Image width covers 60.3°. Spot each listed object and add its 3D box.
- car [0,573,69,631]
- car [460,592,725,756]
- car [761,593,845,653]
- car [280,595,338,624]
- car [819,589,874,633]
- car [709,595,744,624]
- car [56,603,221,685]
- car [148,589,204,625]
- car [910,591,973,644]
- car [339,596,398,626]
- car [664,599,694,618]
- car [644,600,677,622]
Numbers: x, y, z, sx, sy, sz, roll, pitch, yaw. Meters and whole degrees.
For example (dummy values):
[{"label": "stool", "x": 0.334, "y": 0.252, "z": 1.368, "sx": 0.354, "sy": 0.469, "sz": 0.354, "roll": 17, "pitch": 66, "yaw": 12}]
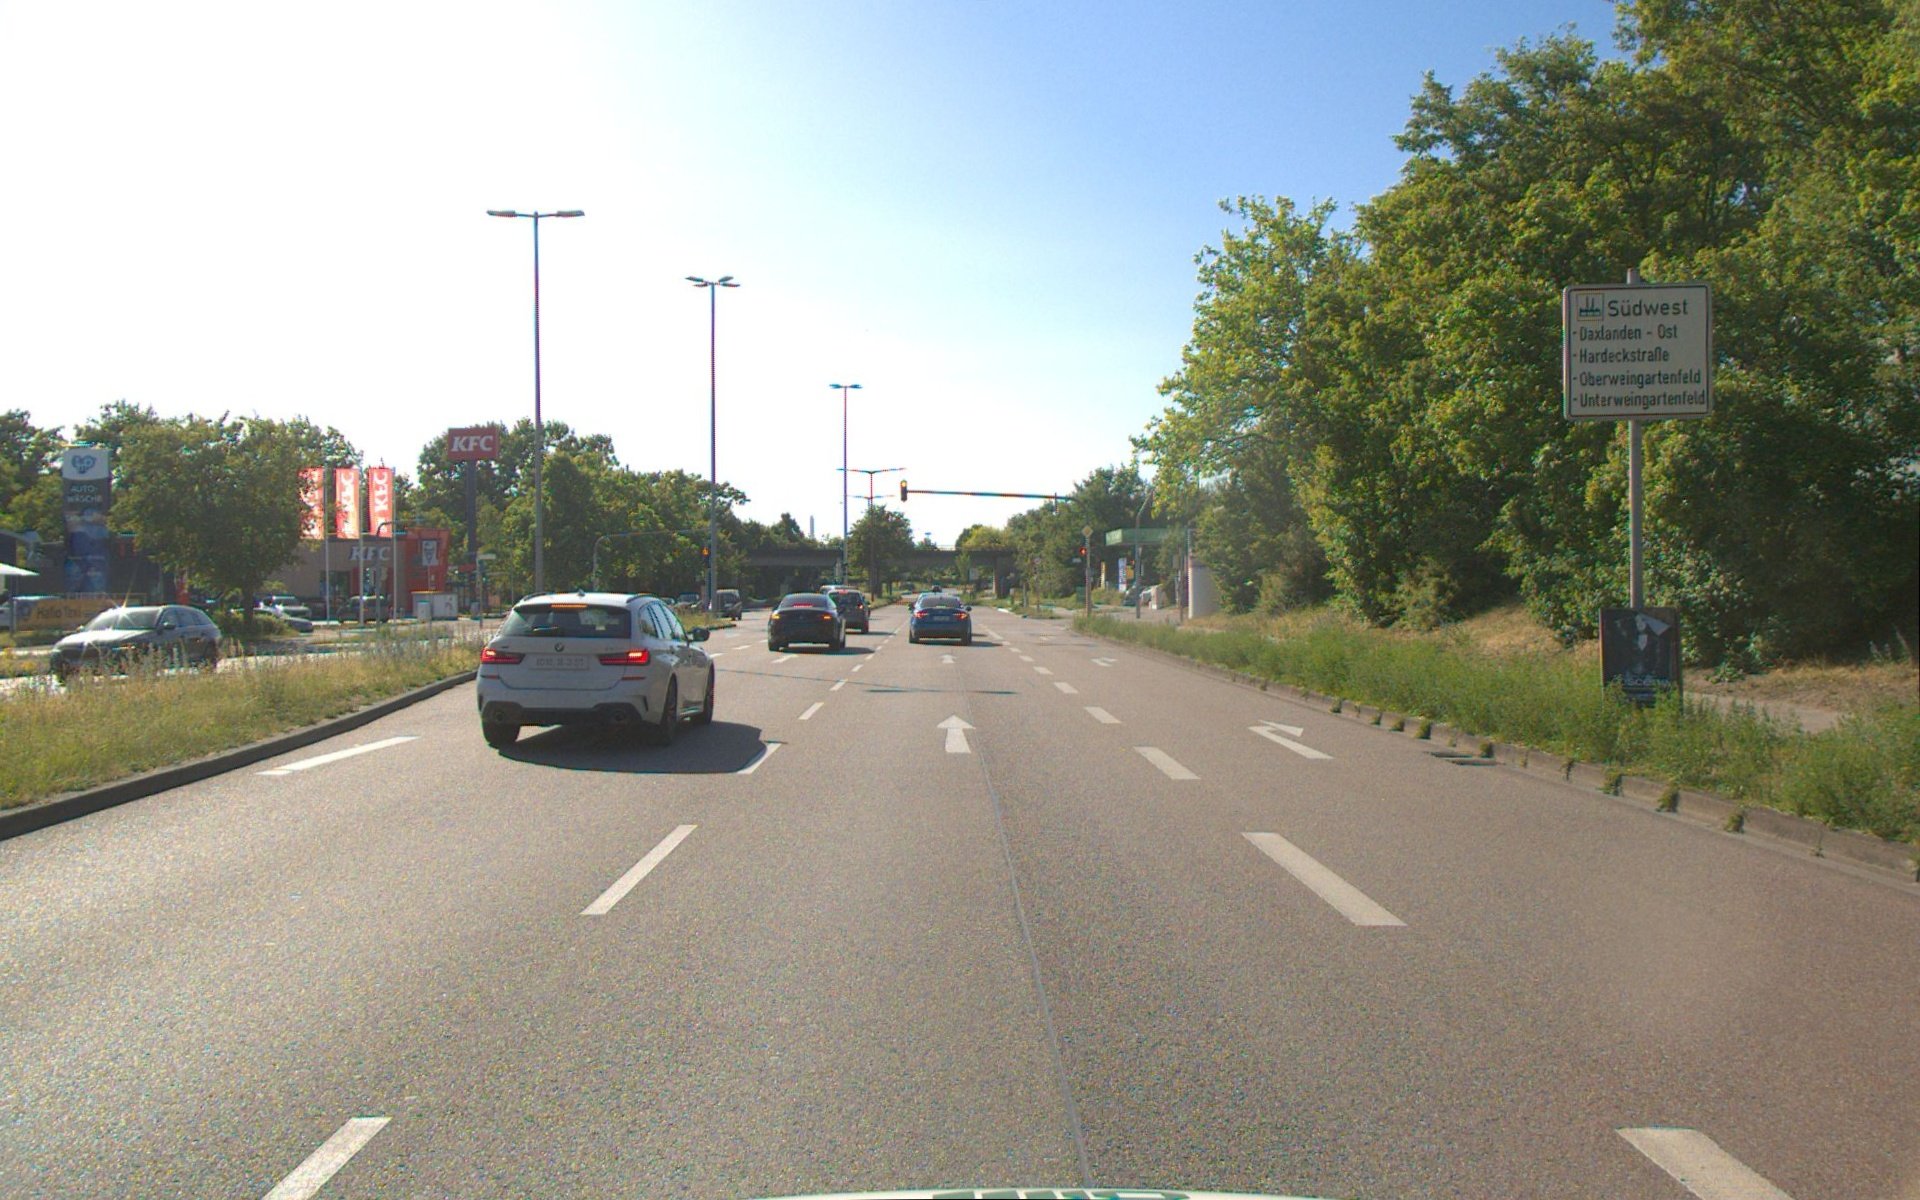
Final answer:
[{"label": "car", "x": -37.440, "y": 0.073, "z": 65.875, "sx": 1.782, "sy": 2.248, "sz": 3.999, "roll": 0, "pitch": 0, "yaw": -2}, {"label": "car", "x": -3.660, "y": 0.659, "z": 17.301, "sx": 1.824, "sy": 1.480, "sz": 4.546, "roll": 0, "pitch": 0, "yaw": -1}, {"label": "car", "x": -4.087, "y": 0.556, "z": 43.644, "sx": 1.824, "sy": 1.480, "sz": 4.546, "roll": 0, "pitch": 0, "yaw": -1}, {"label": "car", "x": -43.059, "y": 0.615, "z": 109.397, "sx": 4.010, "sy": 1.814, "sz": 1.917, "roll": 0, "pitch": 0, "yaw": 40}, {"label": "car", "x": -4.235, "y": 0.398, "z": 62.181, "sx": 1.824, "sy": 1.592, "sz": 4.546, "roll": 0, "pitch": 0, "yaw": -1}, {"label": "car", "x": -13.520, "y": 0.511, "z": 95.839, "sx": 1.504, "sy": 1.608, "sz": 3.670, "roll": -1, "pitch": 0, "yaw": -1}, {"label": "car", "x": -16.473, "y": 0.839, "z": 33.342, "sx": 1.504, "sy": 1.477, "sz": 3.670, "roll": -2, "pitch": 0, "yaw": -1}, {"label": "car", "x": -45.442, "y": 0.400, "z": 95.797, "sx": 3.730, "sy": 2.049, "sz": 1.766, "roll": 0, "pitch": 0, "yaw": 45}, {"label": "car", "x": -0.579, "y": 0.504, "z": 50.861, "sx": 1.824, "sy": 1.525, "sz": 4.335, "roll": 0, "pitch": 0, "yaw": -1}, {"label": "car", "x": -36.229, "y": 0.652, "z": 101.266, "sx": 1.913, "sy": 1.814, "sz": 4.020, "roll": -1, "pitch": 0, "yaw": -44}, {"label": "car", "x": -21.379, "y": 0.647, "z": 125.887, "sx": 1.669, "sy": 1.427, "sz": 3.722, "roll": 0, "pitch": 0, "yaw": -1}, {"label": "car", "x": -20.399, "y": 0.725, "z": 112.734, "sx": 1.669, "sy": 1.427, "sz": 3.722, "roll": 0, "pitch": 0, "yaw": -1}]
